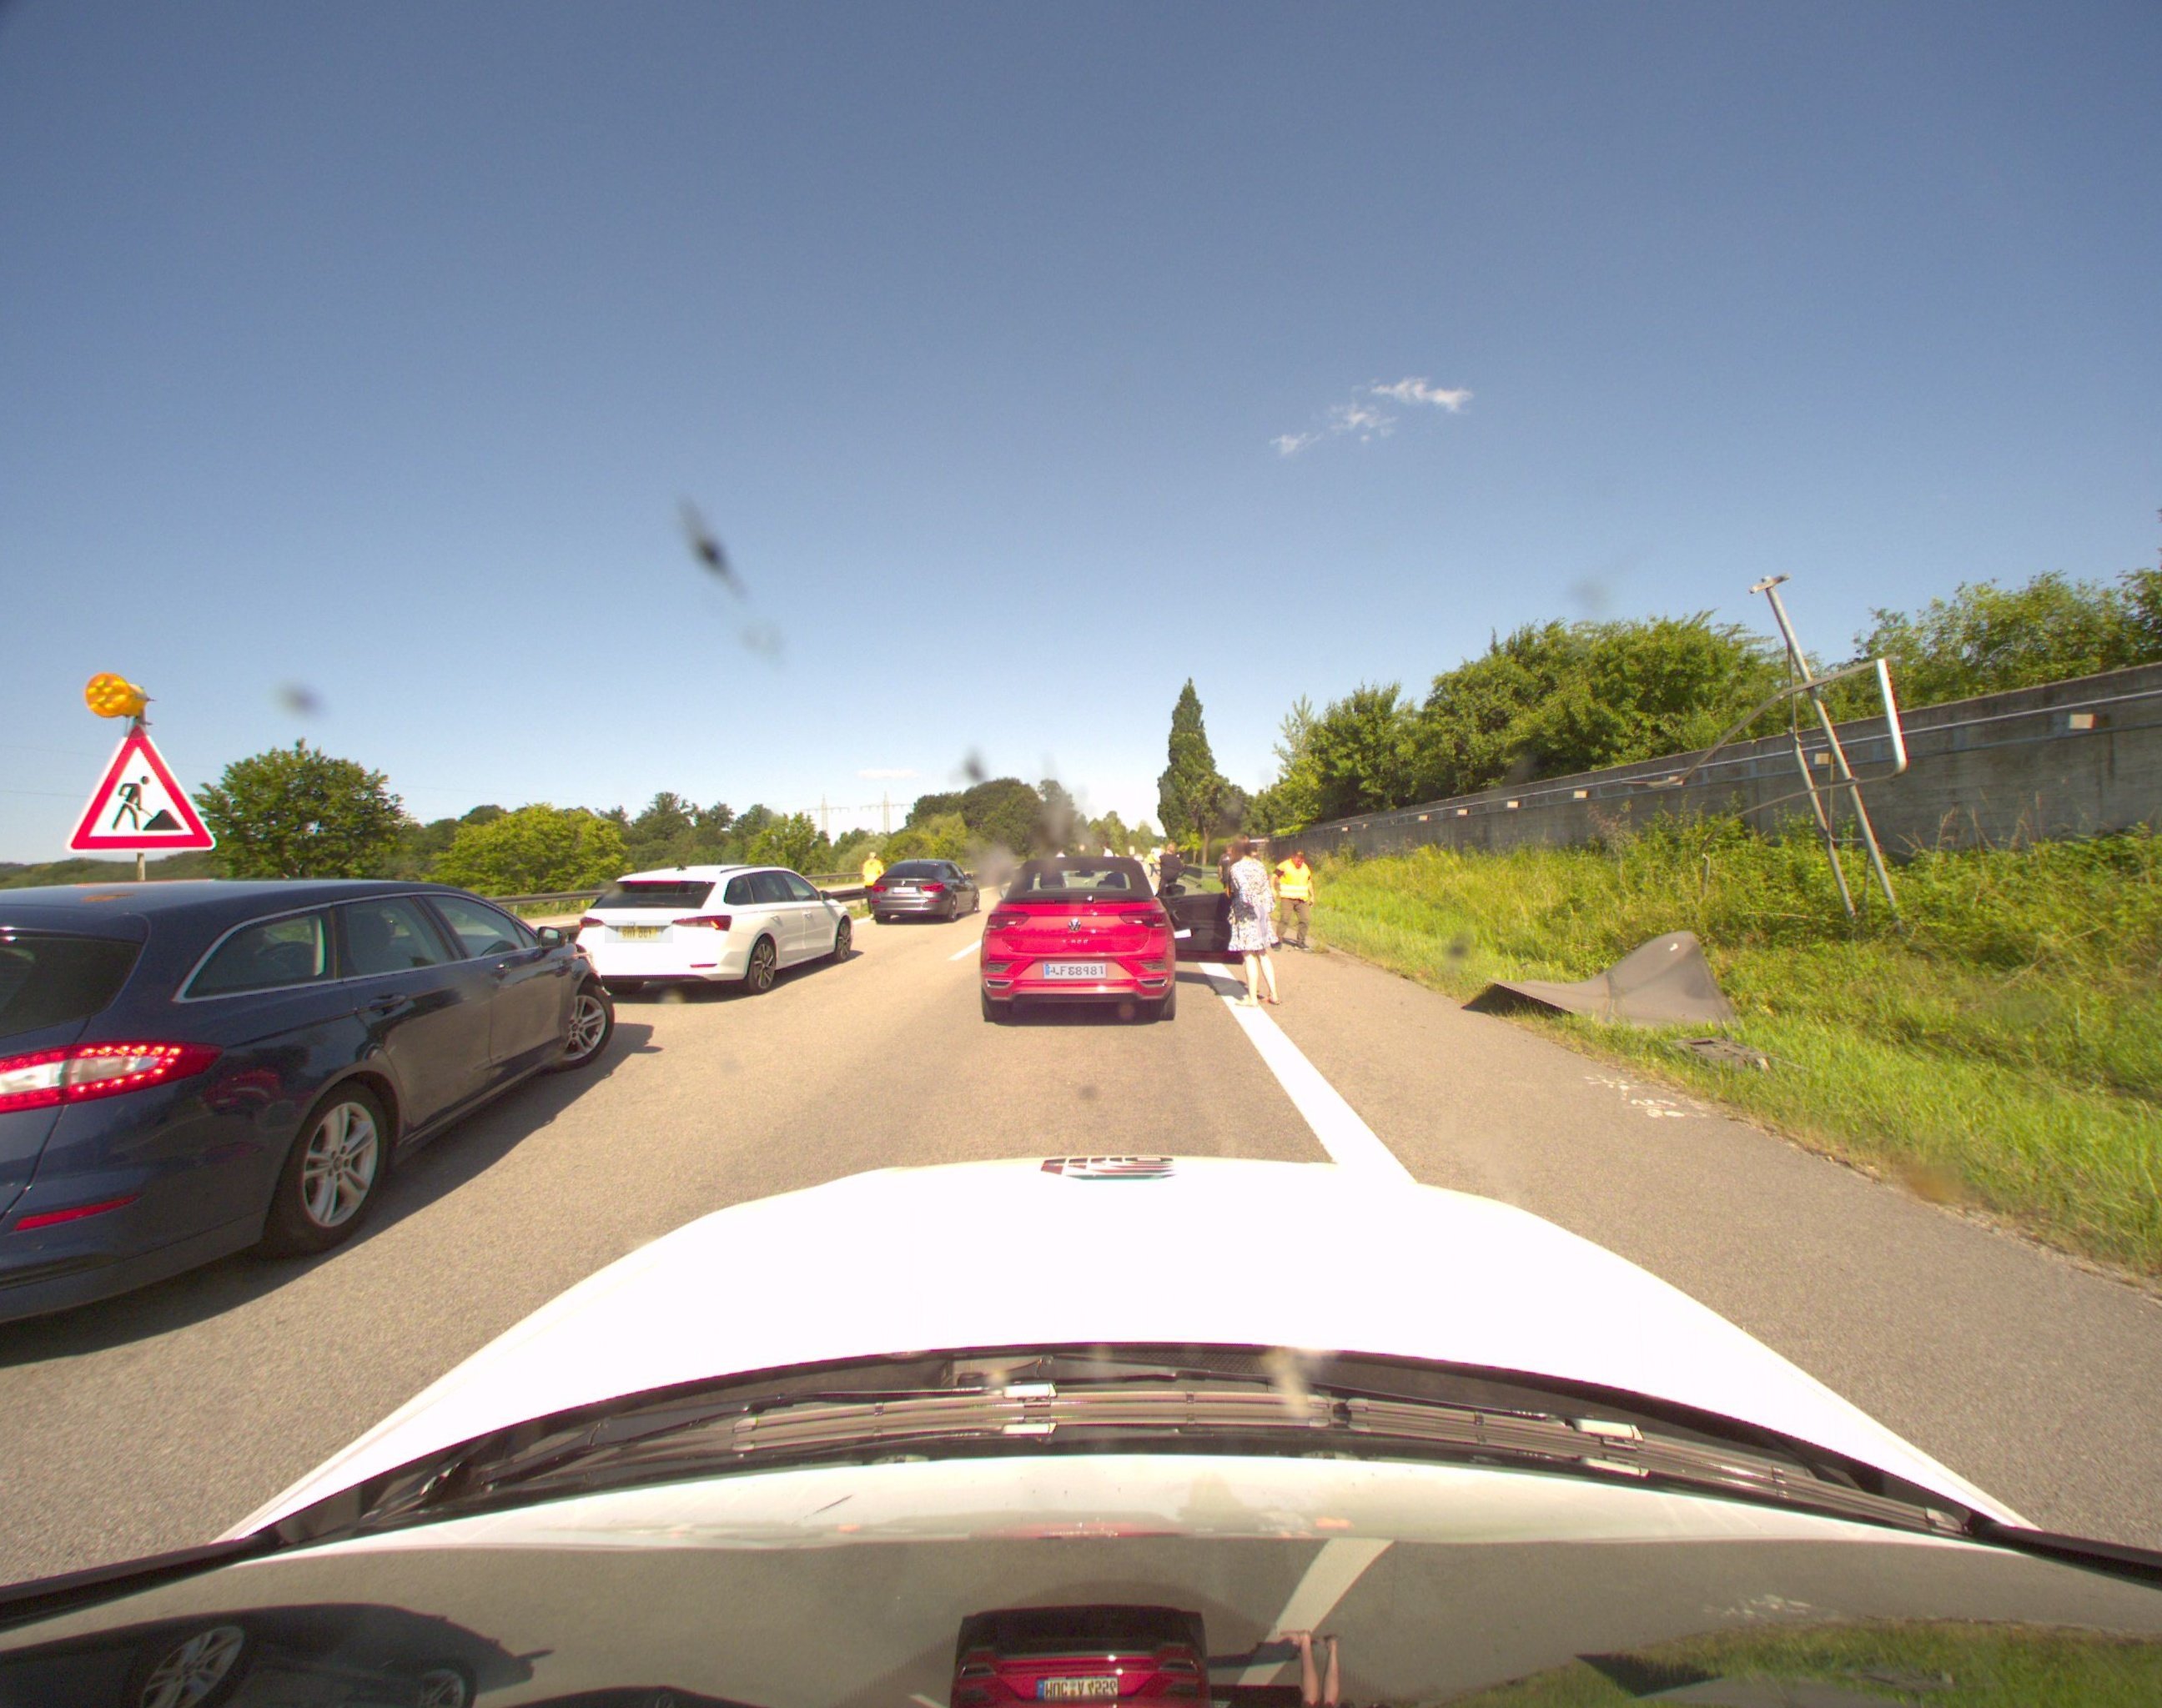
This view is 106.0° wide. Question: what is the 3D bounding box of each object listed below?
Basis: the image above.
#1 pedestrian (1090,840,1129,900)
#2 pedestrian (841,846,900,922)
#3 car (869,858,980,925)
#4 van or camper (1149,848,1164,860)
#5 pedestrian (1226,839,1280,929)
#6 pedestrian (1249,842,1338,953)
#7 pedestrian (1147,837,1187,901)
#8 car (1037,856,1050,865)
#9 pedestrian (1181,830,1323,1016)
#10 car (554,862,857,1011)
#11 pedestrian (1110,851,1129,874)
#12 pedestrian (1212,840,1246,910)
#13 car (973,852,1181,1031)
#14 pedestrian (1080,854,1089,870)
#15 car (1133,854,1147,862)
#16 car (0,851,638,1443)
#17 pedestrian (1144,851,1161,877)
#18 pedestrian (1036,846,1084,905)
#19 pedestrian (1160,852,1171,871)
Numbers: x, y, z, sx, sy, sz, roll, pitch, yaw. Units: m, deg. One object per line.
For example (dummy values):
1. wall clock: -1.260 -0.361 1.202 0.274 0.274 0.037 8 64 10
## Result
1. pedestrian: 0.958 0.530 27.400 1.104 1.912 1.255 -2 0 -5
2. pedestrian: -5.154 0.715 20.000 1.036 1.763 1.120 -2 0 5
3. car: -3.712 0.838 20.058 1.688 1.426 4.337 -1 0 3
4. van or camper: 14.889 0.067 160.763 1.977 2.316 4.491 -1 -1 18
5. pedestrian: 3.426 0.588 16.193 0.886 1.725 0.759 -1 -1 25
6. pedestrian: 3.368 0.655 13.033 0.956 1.653 1.275 -2 0 -6
7. pedestrian: 2.587 0.447 24.689 1.086 1.883 1.069 -2 0 1
8. car: -6.047 0.997 130.960 1.705 1.425 4.410 -1 0 3
9. pedestrian: 1.686 0.638 8.176 0.893 1.695 1.121 -2 0 -20
10. car: -4.350 0.846 10.274 1.688 1.441 4.213 -1 0 3
11. pedestrian: 2.838 0.632 59.739 1.118 1.689 0.965 0 -1 -24
12. pedestrian: 3.806 0.524 20.915 0.806 1.759 0.830 0 -1 11
13. car: 0.064 0.737 8.918 1.725 1.487 4.213 -1 0 3
14. pedestrian: 0.384 0.837 88.650 0.787 1.689 0.794 0 -1 7
15. car: 11.834 0.831 161.930 1.718 1.487 4.231 -1 0 19
16. car: -3.982 0.784 4.080 1.789 1.493 4.475 -2 0 -11
17. pedestrian: 4.821 0.667 55.133 1.049 1.689 1.020 -1 -1 9
18. pedestrian: -0.657 0.669 25.403 1.094 1.789 1.098 -1 -1 26
19. pedestrian: 7.695 0.669 74.219 0.991 1.689 1.012 0 -1 6
